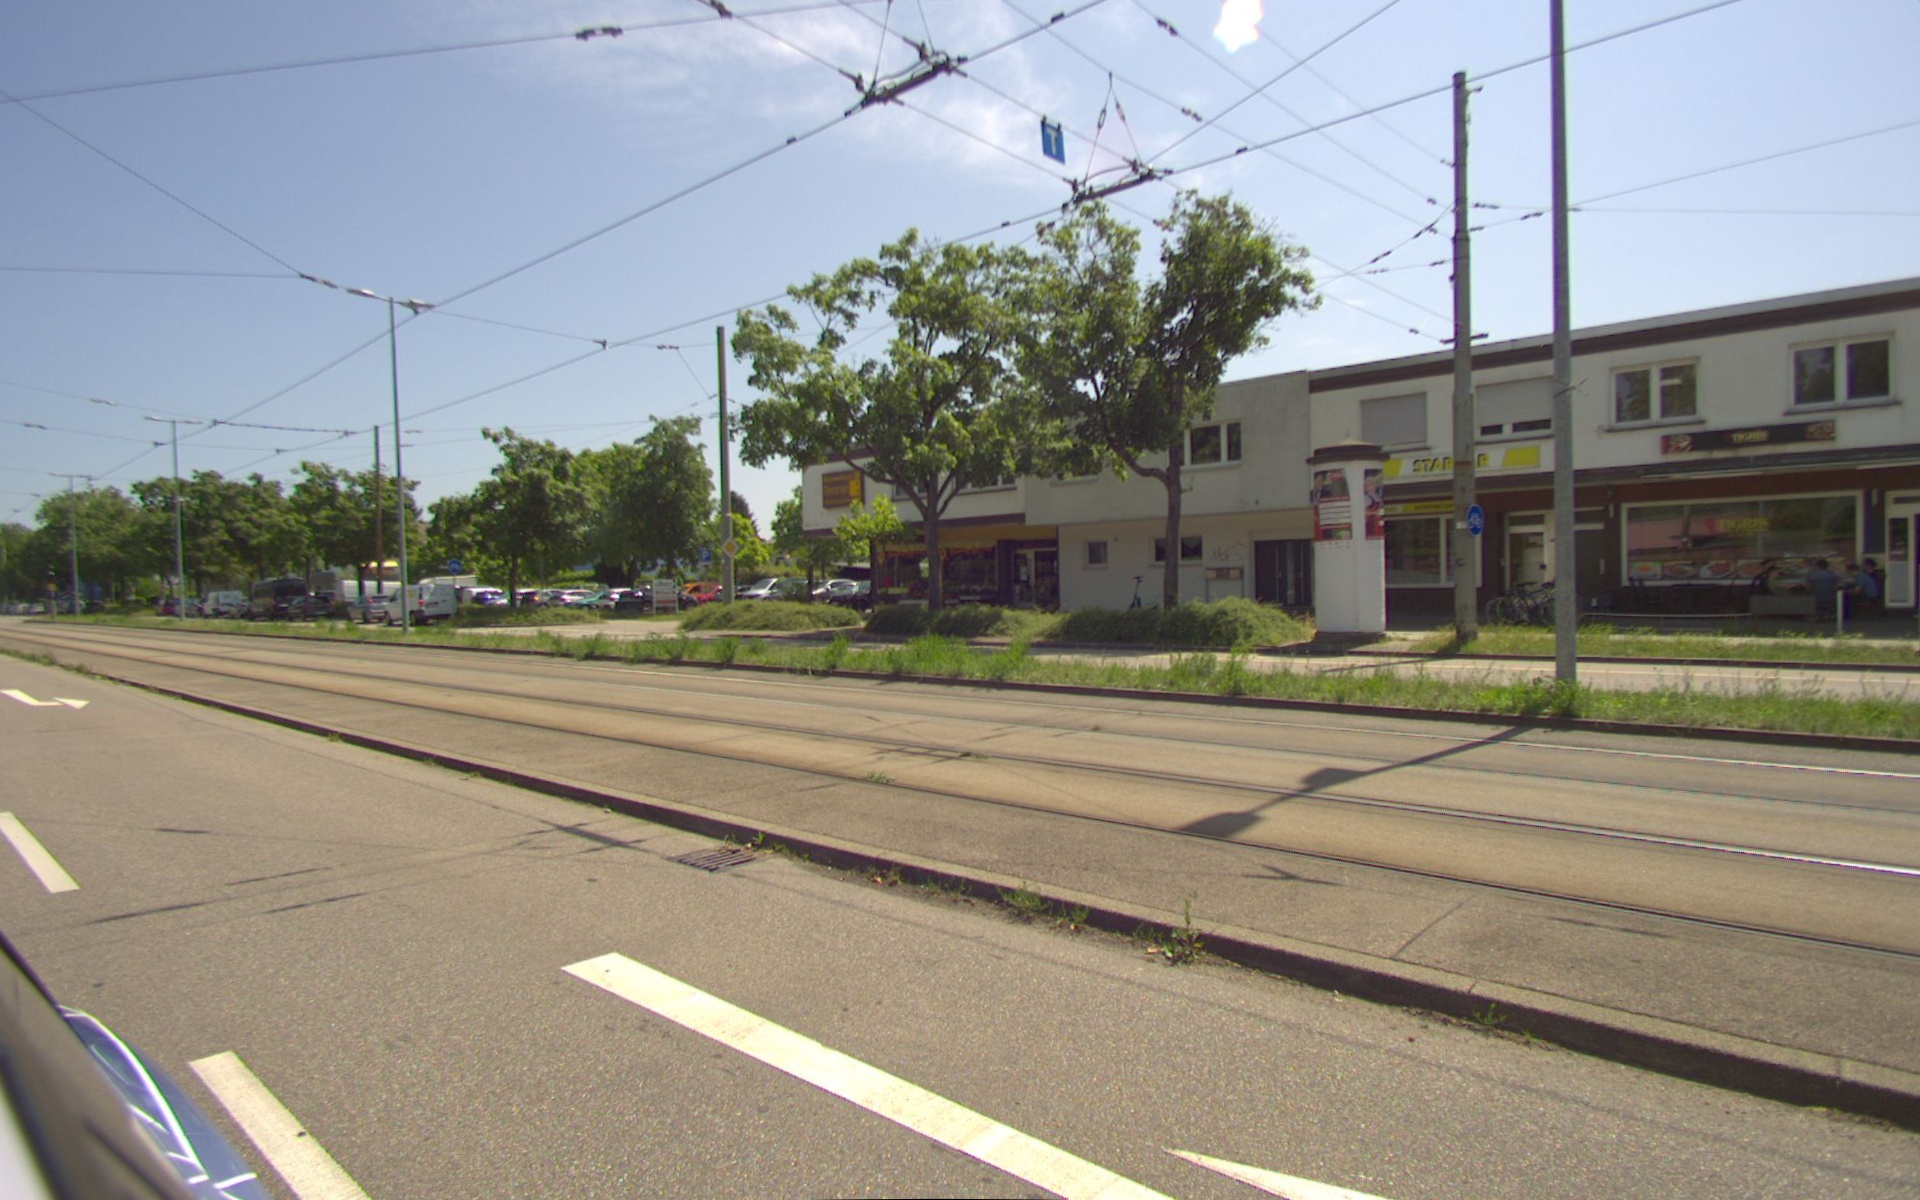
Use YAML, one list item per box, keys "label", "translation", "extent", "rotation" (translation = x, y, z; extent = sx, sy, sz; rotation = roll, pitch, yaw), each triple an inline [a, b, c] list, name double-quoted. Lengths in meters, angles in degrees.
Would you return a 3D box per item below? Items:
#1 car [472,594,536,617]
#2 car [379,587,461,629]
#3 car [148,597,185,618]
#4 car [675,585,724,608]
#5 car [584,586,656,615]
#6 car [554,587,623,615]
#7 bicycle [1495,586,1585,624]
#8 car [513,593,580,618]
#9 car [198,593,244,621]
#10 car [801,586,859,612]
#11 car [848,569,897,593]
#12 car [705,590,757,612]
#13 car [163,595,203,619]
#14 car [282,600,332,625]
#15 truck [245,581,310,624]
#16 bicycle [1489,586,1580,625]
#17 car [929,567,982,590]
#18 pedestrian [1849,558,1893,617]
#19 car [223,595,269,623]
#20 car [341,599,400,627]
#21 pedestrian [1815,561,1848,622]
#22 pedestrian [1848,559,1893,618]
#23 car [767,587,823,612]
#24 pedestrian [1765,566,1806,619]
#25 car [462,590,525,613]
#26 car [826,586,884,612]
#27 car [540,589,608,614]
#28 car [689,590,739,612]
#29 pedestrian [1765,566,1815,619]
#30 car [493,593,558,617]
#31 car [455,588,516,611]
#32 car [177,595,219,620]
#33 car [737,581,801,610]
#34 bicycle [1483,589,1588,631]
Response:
- label: "car"
  translation: [-29.004, 0.338, 64.427]
  extent: [1.600, 1.404, 3.374]
  rotation: [-1, 1, 36]
- label: "car"
  translation: [-25.973, 0.387, 48.592]
  extent: [4.660, 1.897, 1.973]
  rotation: [-1, 1, 42]
- label: "car"
  translation: [-66.025, 0.616, 84.201]
  extent: [3.821, 1.716, 1.660]
  rotation: [-1, 1, 41]
- label: "car"
  translation: [-19.243, -0.271, 74.857]
  extent: [1.505, 1.573, 3.314]
  rotation: [-1, 1, 38]
- label: "car"
  translation: [-18.832, -0.002, 56.191]
  extent: [1.790, 1.502, 3.374]
  rotation: [-1, 1, 36]
- label: "car"
  translation: [-21.051, 0.022, 57.445]
  extent: [1.595, 1.502, 3.374]
  rotation: [-1, 1, 36]
- label: "bicycle"
  translation: [13.853, 0.125, 24.197]
  extent: [1.787, 0.854, 0.522]
  rotation: [0, 3, 41]
- label: "car"
  translation: [-24.688, 0.336, 60.459]
  extent: [1.600, 1.404, 3.374]
  rotation: [-1, 1, 36]
- label: "car"
  translation: [-53.177, 0.502, 72.775]
  extent: [4.507, 1.989, 1.660]
  rotation: [-1, 1, 41]
- label: "car"
  translation: [-8.193, -0.061, 63.900]
  extent: [1.622, 1.549, 3.450]
  rotation: [-1, 1, 38]
- label: "car"
  translation: [-7.657, -1.687, 88.606]
  extent: [2.000, 2.029, 3.944]
  rotation: [-1, 1, 43]
- label: "car"
  translation: [-16.010, 0.057, 70.926]
  extent: [1.505, 1.400, 3.314]
  rotation: [-1, 1, 38]
- label: "car"
  translation: [-61.069, 0.572, 79.512]
  extent: [4.200, 1.807, 1.660]
  rotation: [-1, 0, 41]
- label: "car"
  translation: [-38.318, 0.727, 59.369]
  extent: [3.670, 1.397, 1.652]
  rotation: [-1, 1, 43]
- label: "truck"
  translation: [-42.821, 0.136, 63.446]
  extent: [4.927, 2.560, 2.196]
  rotation: [-1, 1, 42]
- label: "bicycle"
  translation: [13.478, 0.130, 23.764]
  extent: [1.787, 0.854, 0.522]
  rotation: [0, 3, 41]
- label: "car"
  translation: [-0.313, -1.705, 79.668]
  extent: [2.000, 1.785, 3.944]
  rotation: [-1, 1, 43]
- label: "pedestrian"
  translation: [19.398, -0.267, 21.551]
  extent: [0.674, 1.218, 0.512]
  rotation: [-1, 1, 41]
- label: "car"
  translation: [-48.973, 0.623, 69.403]
  extent: [3.866, 1.807, 1.660]
  rotation: [-1, 1, 41]
- label: "car"
  translation: [-30.739, 0.667, 52.739]
  extent: [3.569, 1.397, 1.652]
  rotation: [-1, 1, 43]
- label: "pedestrian"
  translation: [18.113, -0.180, 21.037]
  extent: [0.491, 1.248, 0.569]
  rotation: [-1, 1, 41]
- label: "pedestrian"
  translation: [18.960, -0.234, 21.081]
  extent: [0.674, 1.208, 0.512]
  rotation: [-1, 1, 41]
- label: "car"
  translation: [-10.669, -0.057, 65.468]
  extent: [1.532, 1.549, 3.450]
  rotation: [-1, 1, 38]
- label: "pedestrian"
  translation: [18.429, -0.167, 22.594]
  extent: [0.674, 1.172, 0.512]
  rotation: [-1, 1, 41]
- label: "car"
  translation: [-30.653, 0.094, 66.580]
  extent: [1.600, 1.404, 3.374]
  rotation: [-1, 1, 36]
- label: "car"
  translation: [-6.427, -0.065, 62.400]
  extent: [1.622, 1.549, 3.450]
  rotation: [-1, 1, 38]
- label: "car"
  translation: [-22.628, 0.083, 59.394]
  extent: [1.600, 1.404, 3.374]
  rotation: [-1, 1, 36]
- label: "car"
  translation: [-17.682, 0.063, 72.871]
  extent: [1.505, 1.469, 3.314]
  rotation: [-1, 1, 38]
- label: "pedestrian"
  translation: [17.999, -0.167, 21.945]
  extent: [0.810, 1.136, 0.558]
  rotation: [-1, 1, 41]
- label: "car"
  translation: [-27.030, 0.302, 63.033]
  extent: [1.600, 1.404, 3.374]
  rotation: [-1, 1, 36]
- label: "car"
  translation: [-32.216, -0.050, 68.715]
  extent: [1.600, 1.517, 3.374]
  rotation: [-1, 1, 36]
- label: "car"
  translation: [-57.745, 0.539, 76.629]
  extent: [4.200, 1.807, 1.660]
  rotation: [-1, 1, 41]
- label: "car"
  translation: [-12.582, -0.298, 66.821]
  extent: [1.812, 1.798, 3.949]
  rotation: [-1, 1, 38]
- label: "bicycle"
  translation: [12.850, 0.217, 22.634]
  extent: [1.958, 0.854, 0.596]
  rotation: [0, 3, 41]
